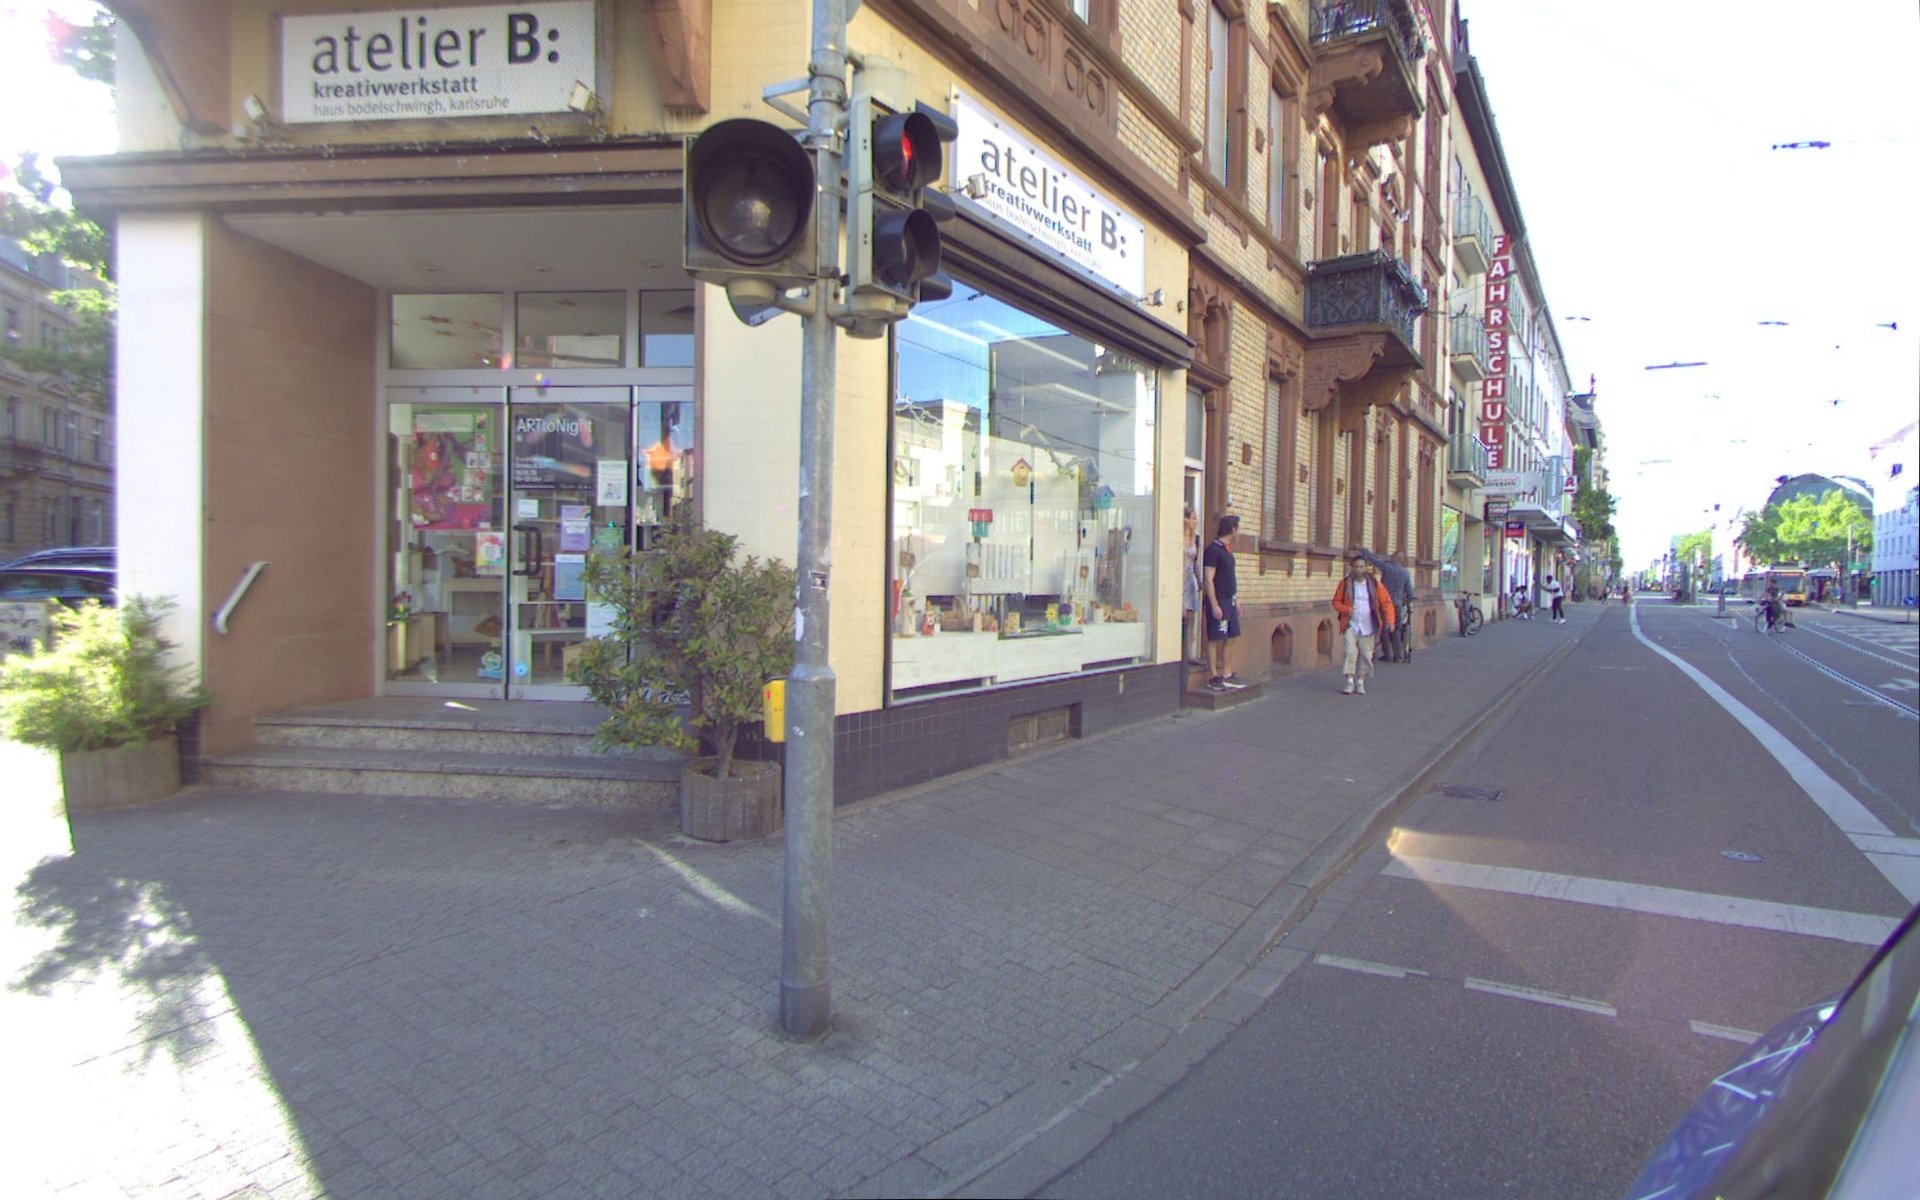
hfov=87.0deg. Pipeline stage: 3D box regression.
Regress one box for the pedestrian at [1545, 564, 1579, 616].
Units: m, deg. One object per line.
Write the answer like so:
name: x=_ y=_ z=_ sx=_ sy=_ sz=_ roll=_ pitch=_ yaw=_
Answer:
pedestrian: x=22.293 y=-0.370 z=37.473 sx=0.667 sy=1.833 sz=0.707 roll=2 pitch=5 yaw=-40

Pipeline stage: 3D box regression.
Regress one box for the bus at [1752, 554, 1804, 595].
bus: x=77.867 y=-2.414 z=96.577 sx=2.802 sy=3.611 sz=13.508 roll=2 pitch=2 yaw=35

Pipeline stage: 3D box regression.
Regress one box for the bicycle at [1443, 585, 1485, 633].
bicycle: x=12.346 y=0.190 z=24.769 sx=0.553 sy=1.074 sz=2.282 roll=4 pitch=3 yaw=34

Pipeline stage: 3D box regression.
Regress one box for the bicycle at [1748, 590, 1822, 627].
bicycle: x=27.595 y=0.283 z=33.883 sx=1.798 sy=1.184 sz=0.683 roll=0 pitch=5 yaw=4

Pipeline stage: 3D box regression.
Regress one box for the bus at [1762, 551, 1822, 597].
bus: x=70.252 y=-2.213 z=85.658 sx=2.803 sy=3.611 sz=13.507 roll=2 pitch=2 yaw=35

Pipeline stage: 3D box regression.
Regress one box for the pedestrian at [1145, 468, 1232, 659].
pedestrian: x=2.411 y=-0.381 z=10.657 sx=0.513 sy=1.928 sz=0.587 roll=8 pitch=3 yaw=35

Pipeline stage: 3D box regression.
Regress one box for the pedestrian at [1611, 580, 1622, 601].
pedestrian: x=53.499 y=-0.786 z=82.459 sx=0.647 sy=1.737 sz=0.795 roll=2 pitch=1 yaw=37

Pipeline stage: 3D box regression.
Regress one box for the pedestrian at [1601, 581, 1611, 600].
pedestrian: x=52.905 y=-0.786 z=82.863 sx=0.645 sy=1.598 sz=0.676 roll=1 pitch=1 yaw=28

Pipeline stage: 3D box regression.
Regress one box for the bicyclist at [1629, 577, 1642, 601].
bicyclist: x=45.718 y=-0.759 z=68.476 sx=0.672 sy=1.634 sz=0.828 roll=1 pitch=1 yaw=33

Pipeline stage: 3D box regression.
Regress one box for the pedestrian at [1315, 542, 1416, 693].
pedestrian: x=4.797 y=0.192 z=11.964 sx=0.795 sy=1.647 sz=0.816 roll=8 pitch=3 yaw=33

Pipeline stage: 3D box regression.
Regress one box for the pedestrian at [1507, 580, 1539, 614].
pedestrian: x=21.400 y=-0.116 z=38.468 sx=0.697 sy=1.188 sz=1.012 roll=7 pitch=4 yaw=15

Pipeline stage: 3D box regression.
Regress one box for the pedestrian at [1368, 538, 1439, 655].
pedestrian: x=7.319 y=-0.066 z=16.700 sx=0.803 sy=1.821 sz=0.752 roll=6 pitch=3 yaw=34

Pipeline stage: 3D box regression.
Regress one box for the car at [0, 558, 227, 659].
car: x=-13.454 y=0.089 z=14.678 sx=4.223 sy=1.371 sz=2.004 roll=0 pitch=2 yaw=-23

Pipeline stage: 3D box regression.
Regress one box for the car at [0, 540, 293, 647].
car: x=-14.051 y=-0.129 z=17.211 sx=4.223 sy=1.668 sz=2.004 roll=0 pitch=2 yaw=-23

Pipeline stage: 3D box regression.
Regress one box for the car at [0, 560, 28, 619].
car: x=-26.739 y=-0.259 z=26.461 sx=1.766 sy=1.593 sz=4.009 roll=0 pitch=2 yaw=-13

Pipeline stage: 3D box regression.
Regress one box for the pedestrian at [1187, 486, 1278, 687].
pedestrian: x=2.748 y=-0.145 z=10.190 sx=0.513 sy=1.928 sz=0.587 roll=8 pitch=3 yaw=35

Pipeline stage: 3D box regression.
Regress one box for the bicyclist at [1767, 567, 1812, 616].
bicyclist: x=27.713 y=-0.289 z=33.825 sx=0.822 sy=1.567 sz=0.691 roll=0 pitch=5 yaw=4

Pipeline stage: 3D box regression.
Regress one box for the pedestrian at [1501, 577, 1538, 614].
pedestrian: x=20.794 y=-0.178 z=37.604 sx=0.815 sy=1.270 sz=0.707 roll=6 pitch=4 yaw=0
